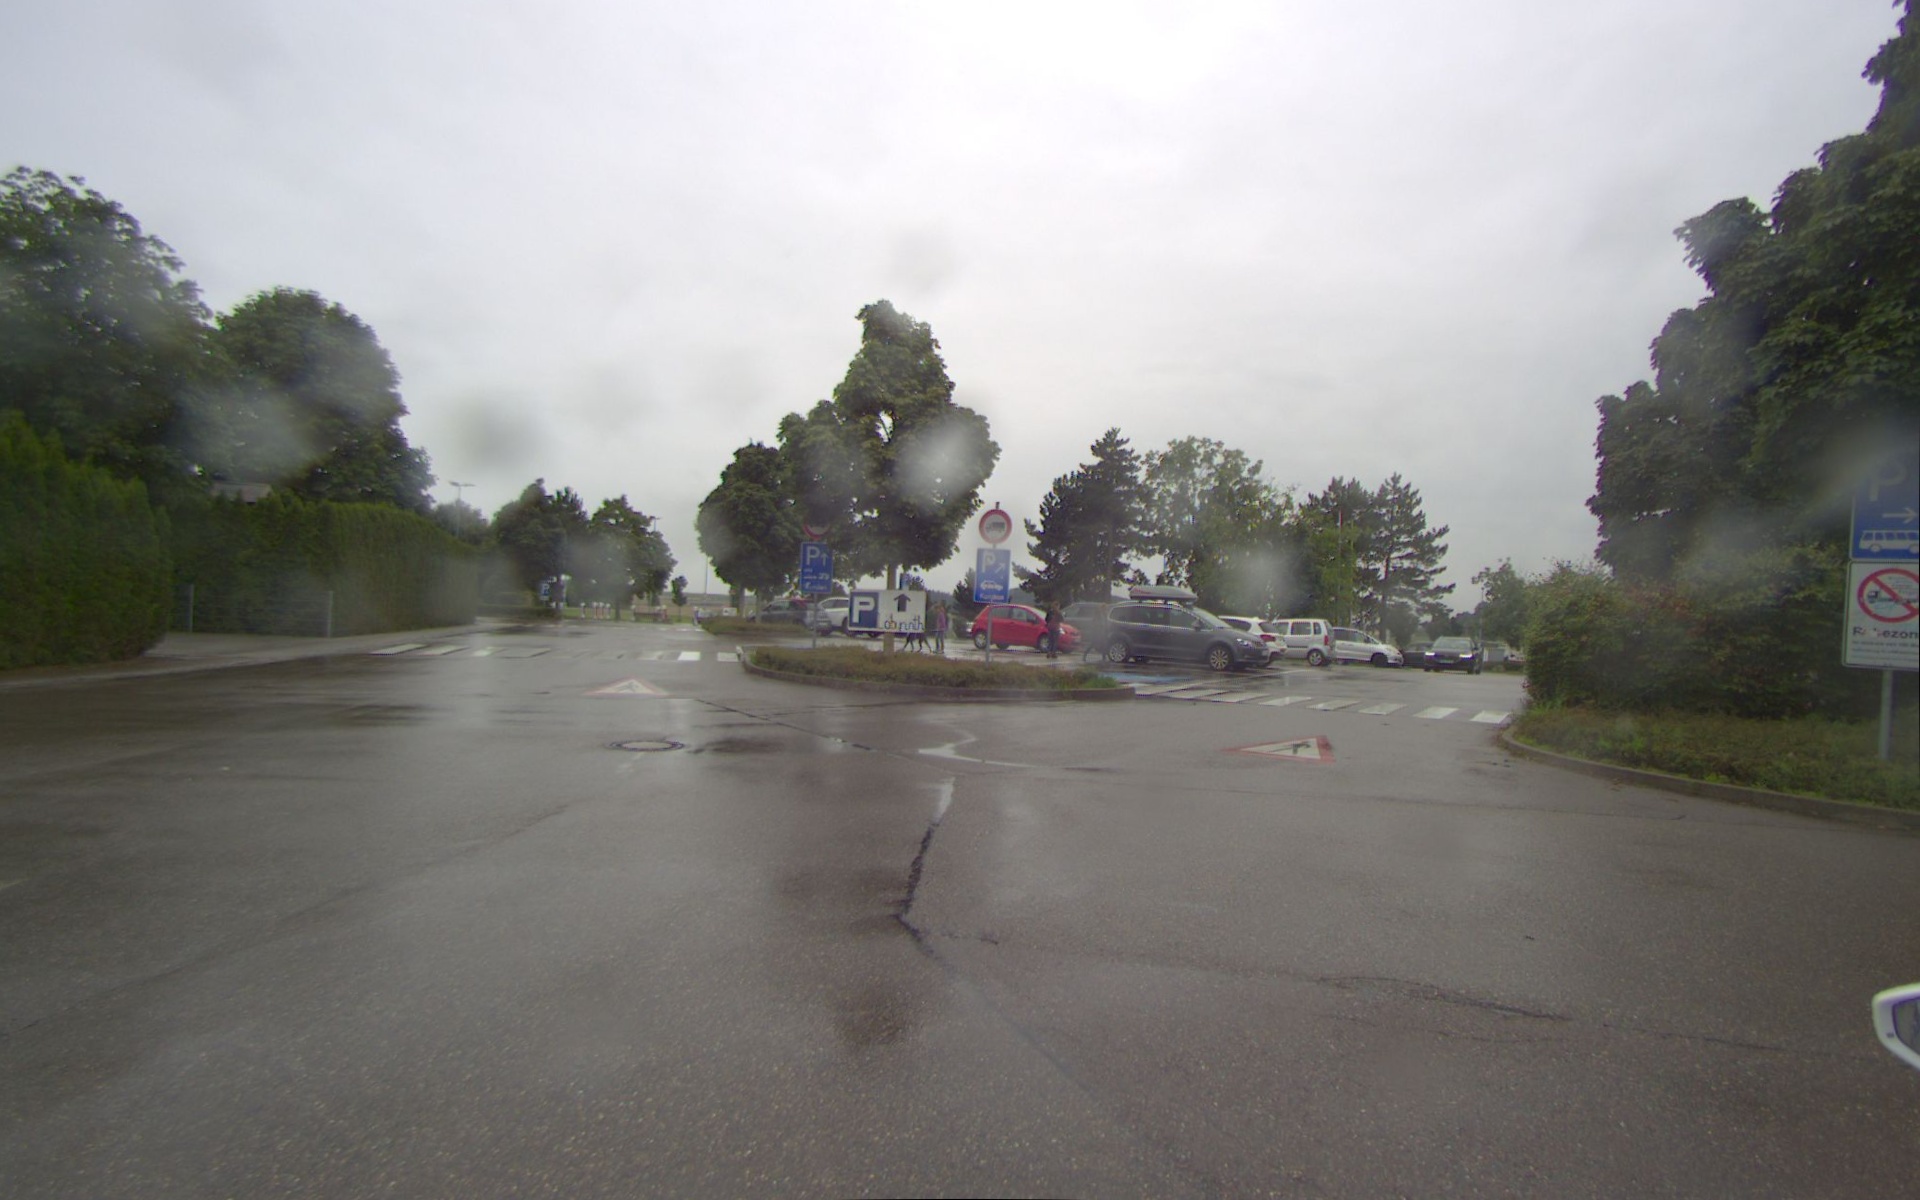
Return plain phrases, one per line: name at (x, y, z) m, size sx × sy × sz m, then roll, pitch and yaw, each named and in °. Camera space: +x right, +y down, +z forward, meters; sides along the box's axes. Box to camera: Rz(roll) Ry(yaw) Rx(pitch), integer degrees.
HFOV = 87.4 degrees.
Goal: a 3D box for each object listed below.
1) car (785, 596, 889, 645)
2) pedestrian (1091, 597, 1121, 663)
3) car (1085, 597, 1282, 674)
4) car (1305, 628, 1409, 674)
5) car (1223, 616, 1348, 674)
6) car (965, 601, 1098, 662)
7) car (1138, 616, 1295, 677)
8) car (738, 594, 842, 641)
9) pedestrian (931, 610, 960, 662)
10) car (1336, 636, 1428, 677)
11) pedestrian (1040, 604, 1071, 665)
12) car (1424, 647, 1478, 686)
car at (-5.325, 0.868, 43.332) m, size 4.293 × 1.886 × 1.717 m, roll 2°, pitch -2°, yaw 32°
pedestrian at (3.977, 0.827, 27.378) m, size 0.670 × 1.747 × 0.612 m, roll 3°, pitch -2°, yaw 12°
car at (6.074, 0.913, 27.513) m, size 4.865 × 1.816 × 1.995 m, roll 2°, pitch 0°, yaw 32°
car at (18.800, 2.408, 47.650) m, size 4.293 × 1.886 × 1.847 m, roll 2°, pitch -2°, yaw 32°
car at (11.884, 1.639, 36.694) m, size 3.953 × 1.886 × 1.847 m, roll 2°, pitch -2°, yaw 32°
car at (2.357, 1.011, 33.387) m, size 3.953 × 1.816 × 1.846 m, roll 2°, pitch 0°, yaw 32°
car at (7.549, 1.315, 29.727) m, size 4.127 × 1.537 × 1.738 m, roll 2°, pitch 1°, yaw 34°
car at (-6.977, 0.706, 41.118) m, size 3.956 × 1.738 × 1.717 m, roll 2°, pitch -2°, yaw 32°
pedestrian at (-0.399, 0.988, 27.418) m, size 0.633 × 1.379 × 0.451 m, roll 4°, pitch -2°, yaw -8°
car at (22.909, 3.019, 54.546) m, size 4.292 × 1.886 × 1.847 m, roll 3°, pitch -1°, yaw 32°
pedestrian at (2.694, 0.967, 28.323) m, size 0.702 × 1.660 × 0.647 m, roll 2°, pitch -2°, yaw 16°
car at (19.835, 2.679, 40.516) m, size 1.621 × 1.388 × 3.994 m, roll 3°, pitch -2°, yaw 30°
